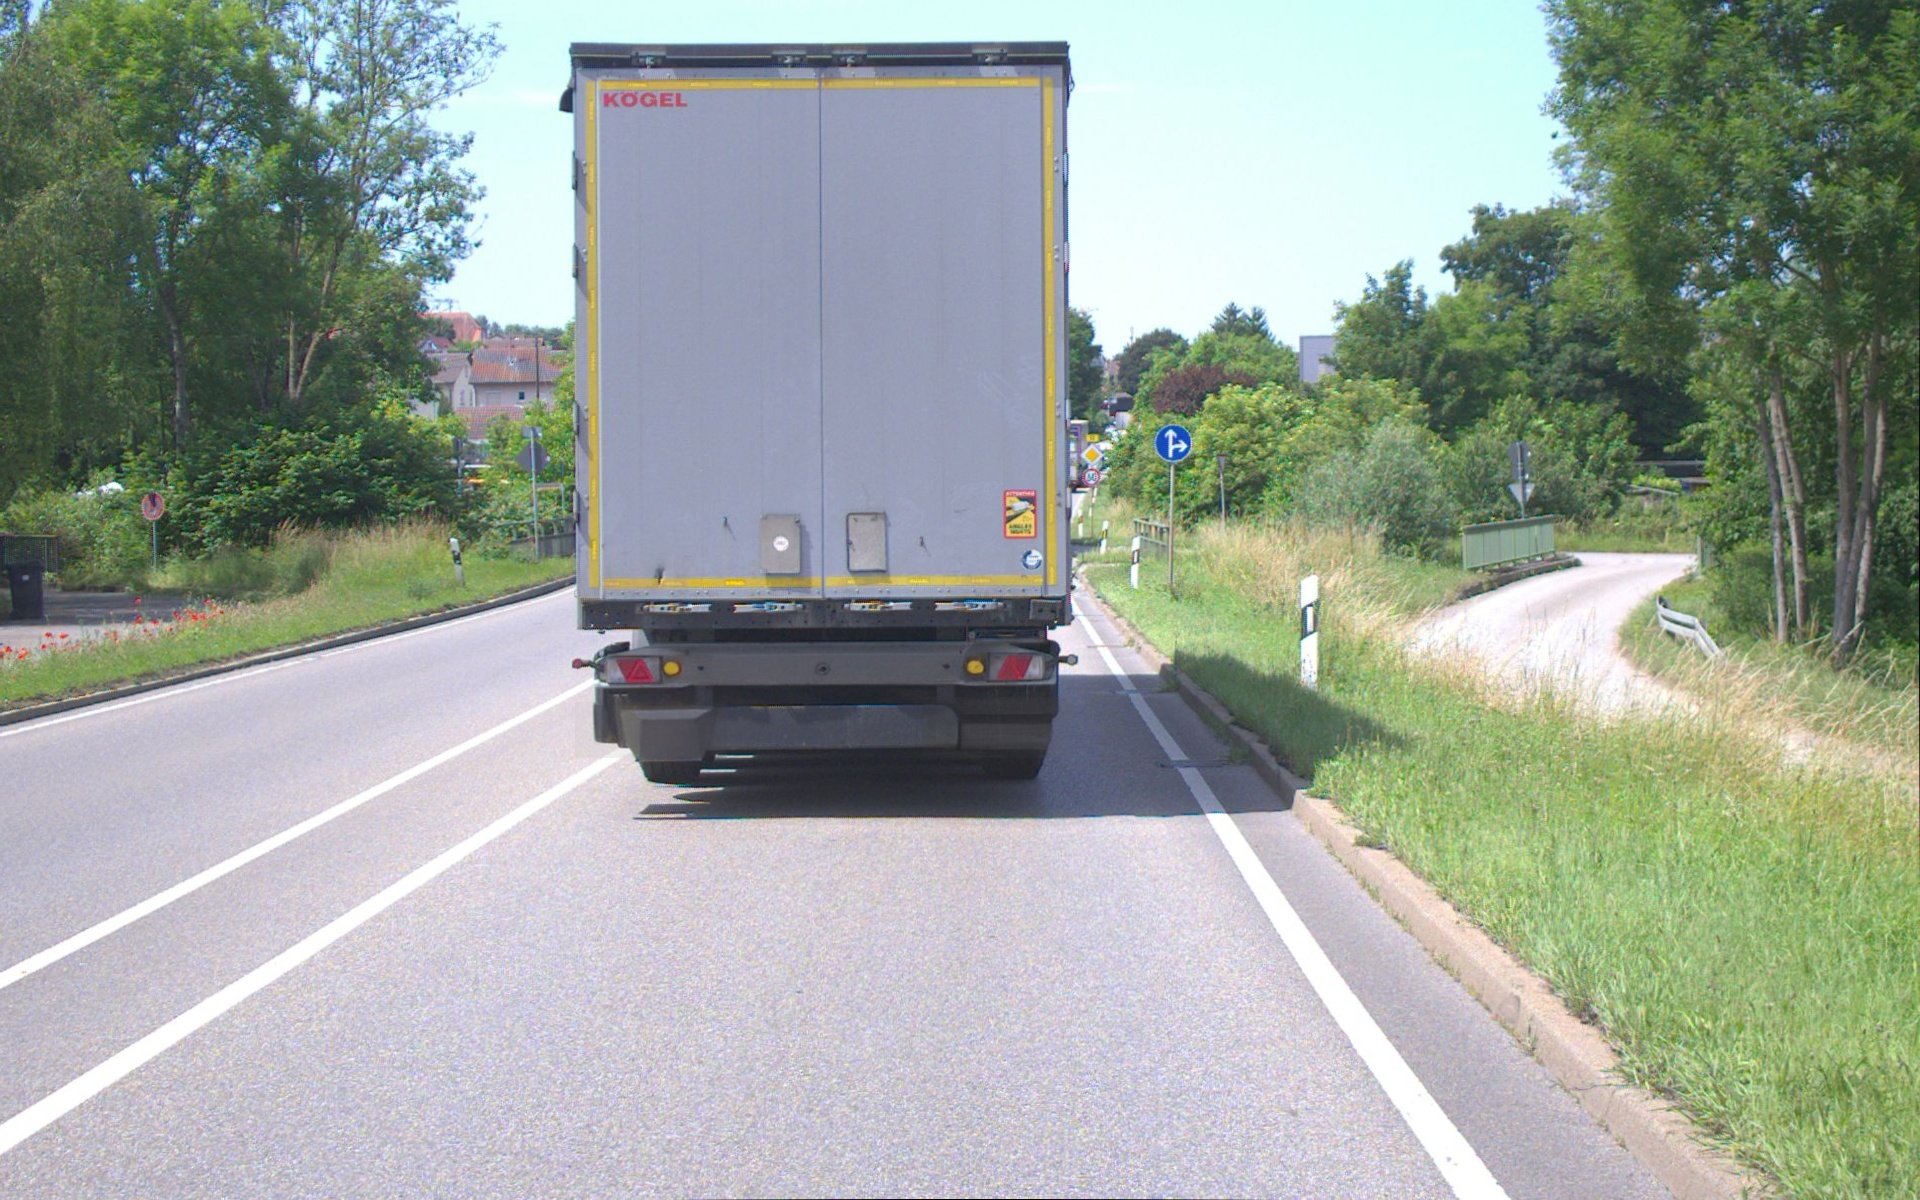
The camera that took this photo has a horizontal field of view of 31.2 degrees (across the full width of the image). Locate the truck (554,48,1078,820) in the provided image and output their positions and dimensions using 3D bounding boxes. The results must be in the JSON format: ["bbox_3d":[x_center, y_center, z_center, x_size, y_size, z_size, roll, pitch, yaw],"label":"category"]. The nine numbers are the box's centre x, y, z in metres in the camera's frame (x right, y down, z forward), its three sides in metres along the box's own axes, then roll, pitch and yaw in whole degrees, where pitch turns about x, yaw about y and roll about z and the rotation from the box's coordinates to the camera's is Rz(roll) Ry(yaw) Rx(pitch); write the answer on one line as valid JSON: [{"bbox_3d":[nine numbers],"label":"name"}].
[{"bbox_3d":[-0.758,-0.944,21.803,2.647,3.903,8.826,0,1,0],"label":"truck"}]

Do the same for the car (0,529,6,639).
[{"bbox_3d":[-17.463,-0.226,53.667,4.662,1.714,1.862,0,4,-3],"label":"car"}]

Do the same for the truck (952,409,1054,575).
[{"bbox_3d":[1.185,-3.106,101.331,2.646,4.585,10.817,1,1,-1],"label":"truck"}]
